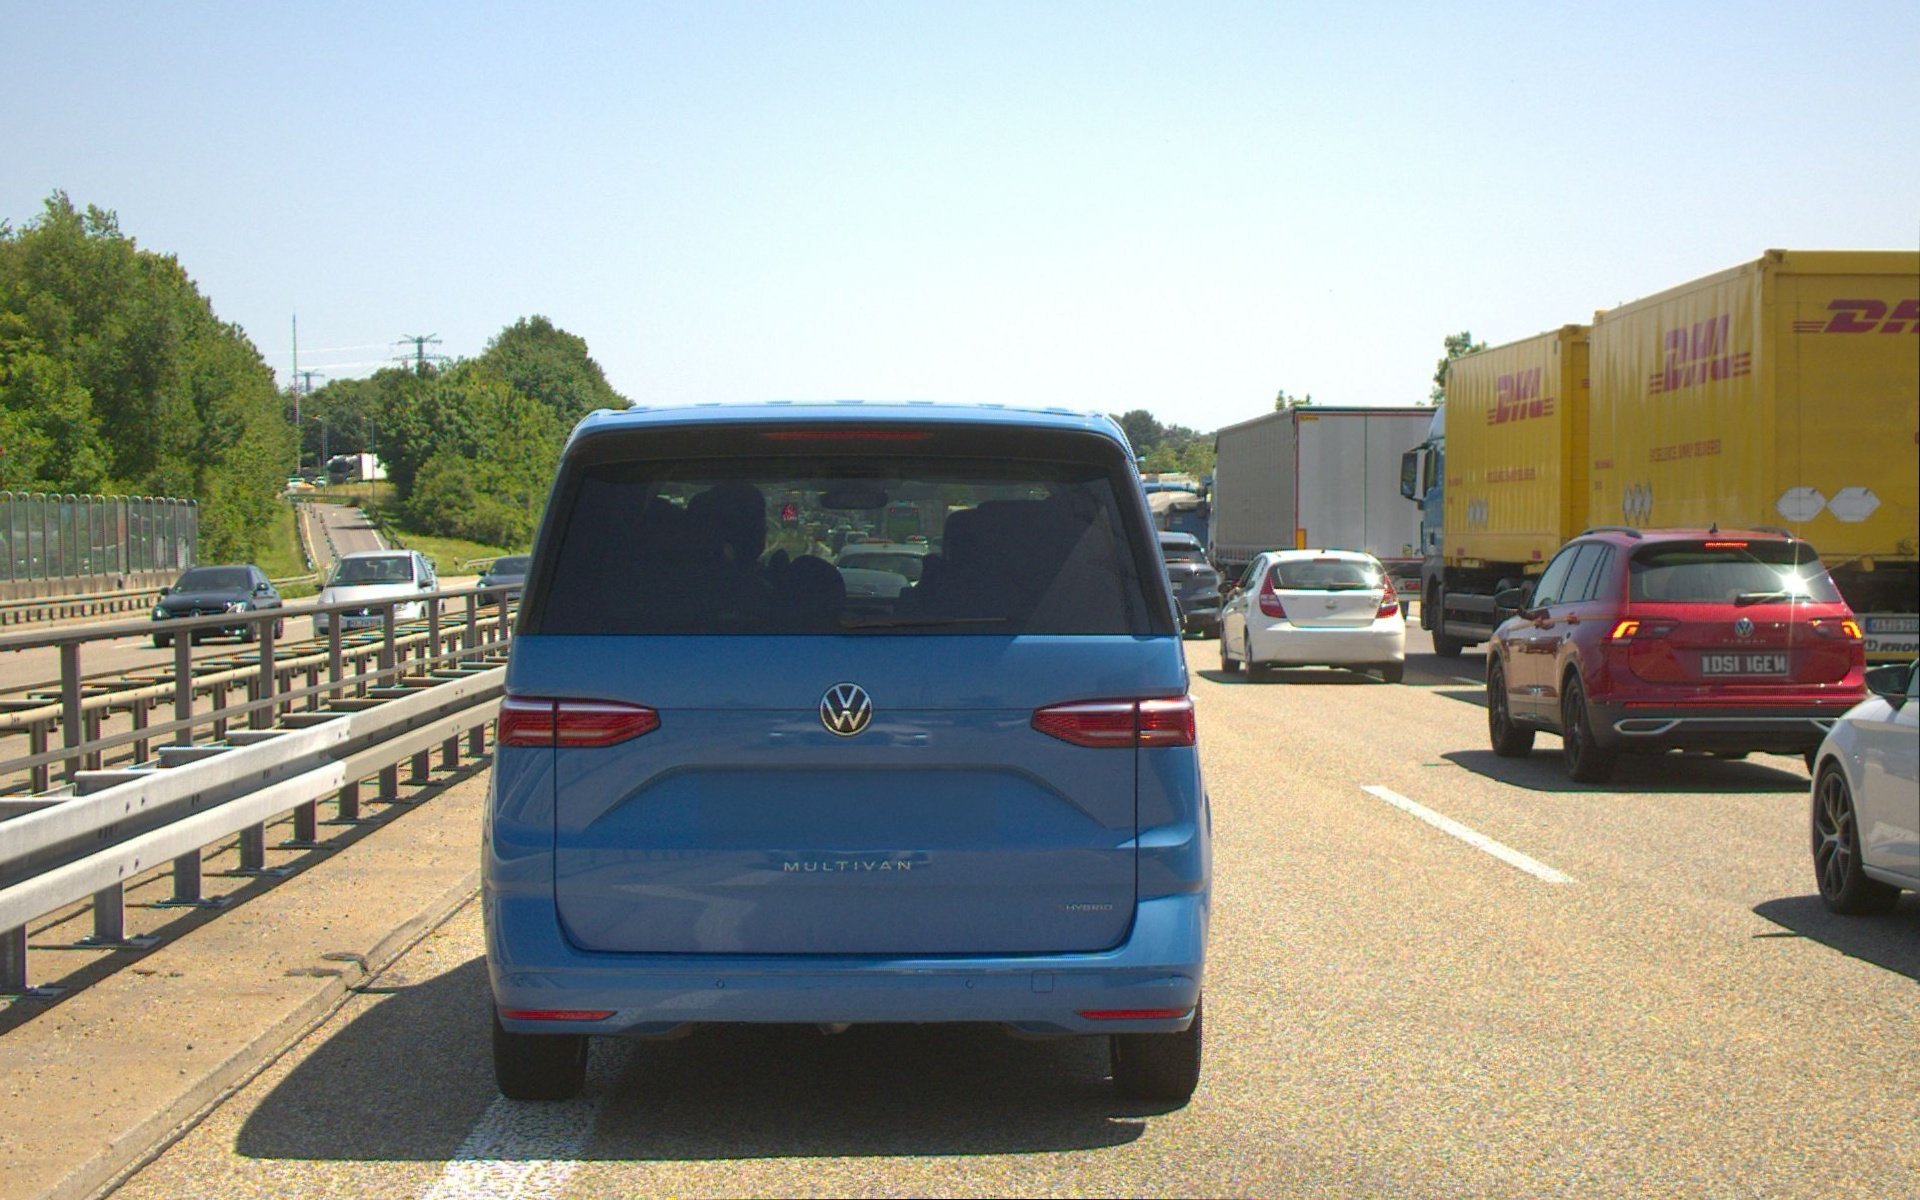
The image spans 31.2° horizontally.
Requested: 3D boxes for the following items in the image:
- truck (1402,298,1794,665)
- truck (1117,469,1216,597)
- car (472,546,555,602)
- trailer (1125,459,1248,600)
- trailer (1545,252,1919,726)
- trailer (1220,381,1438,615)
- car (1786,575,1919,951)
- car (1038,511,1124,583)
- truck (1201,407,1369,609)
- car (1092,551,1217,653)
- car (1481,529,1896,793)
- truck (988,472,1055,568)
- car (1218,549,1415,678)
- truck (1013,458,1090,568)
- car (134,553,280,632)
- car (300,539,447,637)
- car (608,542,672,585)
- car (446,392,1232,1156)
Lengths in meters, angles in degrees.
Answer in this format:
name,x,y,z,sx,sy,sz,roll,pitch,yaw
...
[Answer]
name,x,y,z,sx,sy,sz,roll,pitch,yaw
truck,7.753,-1.354,43.354,2.722,4.041,10.337,1,0,-1
truck,6.143,-1.970,103.017,2.367,3.709,6.034,1,0,-2
car,-10.982,-0.661,84.758,1.583,1.294,3.892,-1,1,-1
trailer,6.312,-1.920,97.396,2.379,3.731,11.189,1,0,-2
trailer,7.985,-0.967,33.702,2.701,4.010,8.931,1,0,-1
trailer,7.009,-1.855,66.972,2.755,4.132,11.313,1,0,-1
car,4.471,0.624,12.540,1.781,1.382,4.188,0,1,-2
car,2.695,-1.205,77.293,1.715,1.535,3.821,-1,1,-1
truck,6.882,-1.907,73.717,2.768,4.081,6.984,1,1,-1
car,3.097,0.041,55.271,1.715,1.581,3.821,0,0,-1
car,4.740,0.333,22.939,1.851,1.603,4.000,0,1,-1
truck,3.312,-4.286,188.033,2.833,5.023,11.818,1,0,-2
car,4.058,0.117,39.701,1.838,1.409,4.000,0,1,0
truck,4.305,-4.080,164.437,2.833,5.023,11.147,1,0,-2
car,-13.857,-0.143,63.449,1.800,1.381,4.263,1,0,-1
car,-9.695,-0.223,57.070,1.840,1.524,3.558,-2,1,-1
car,-10.926,-1.244,117.674,1.842,1.441,4.419,1,0,-1
car,-0.324,0.388,10.262,1.882,1.831,4.000,0,1,-1
